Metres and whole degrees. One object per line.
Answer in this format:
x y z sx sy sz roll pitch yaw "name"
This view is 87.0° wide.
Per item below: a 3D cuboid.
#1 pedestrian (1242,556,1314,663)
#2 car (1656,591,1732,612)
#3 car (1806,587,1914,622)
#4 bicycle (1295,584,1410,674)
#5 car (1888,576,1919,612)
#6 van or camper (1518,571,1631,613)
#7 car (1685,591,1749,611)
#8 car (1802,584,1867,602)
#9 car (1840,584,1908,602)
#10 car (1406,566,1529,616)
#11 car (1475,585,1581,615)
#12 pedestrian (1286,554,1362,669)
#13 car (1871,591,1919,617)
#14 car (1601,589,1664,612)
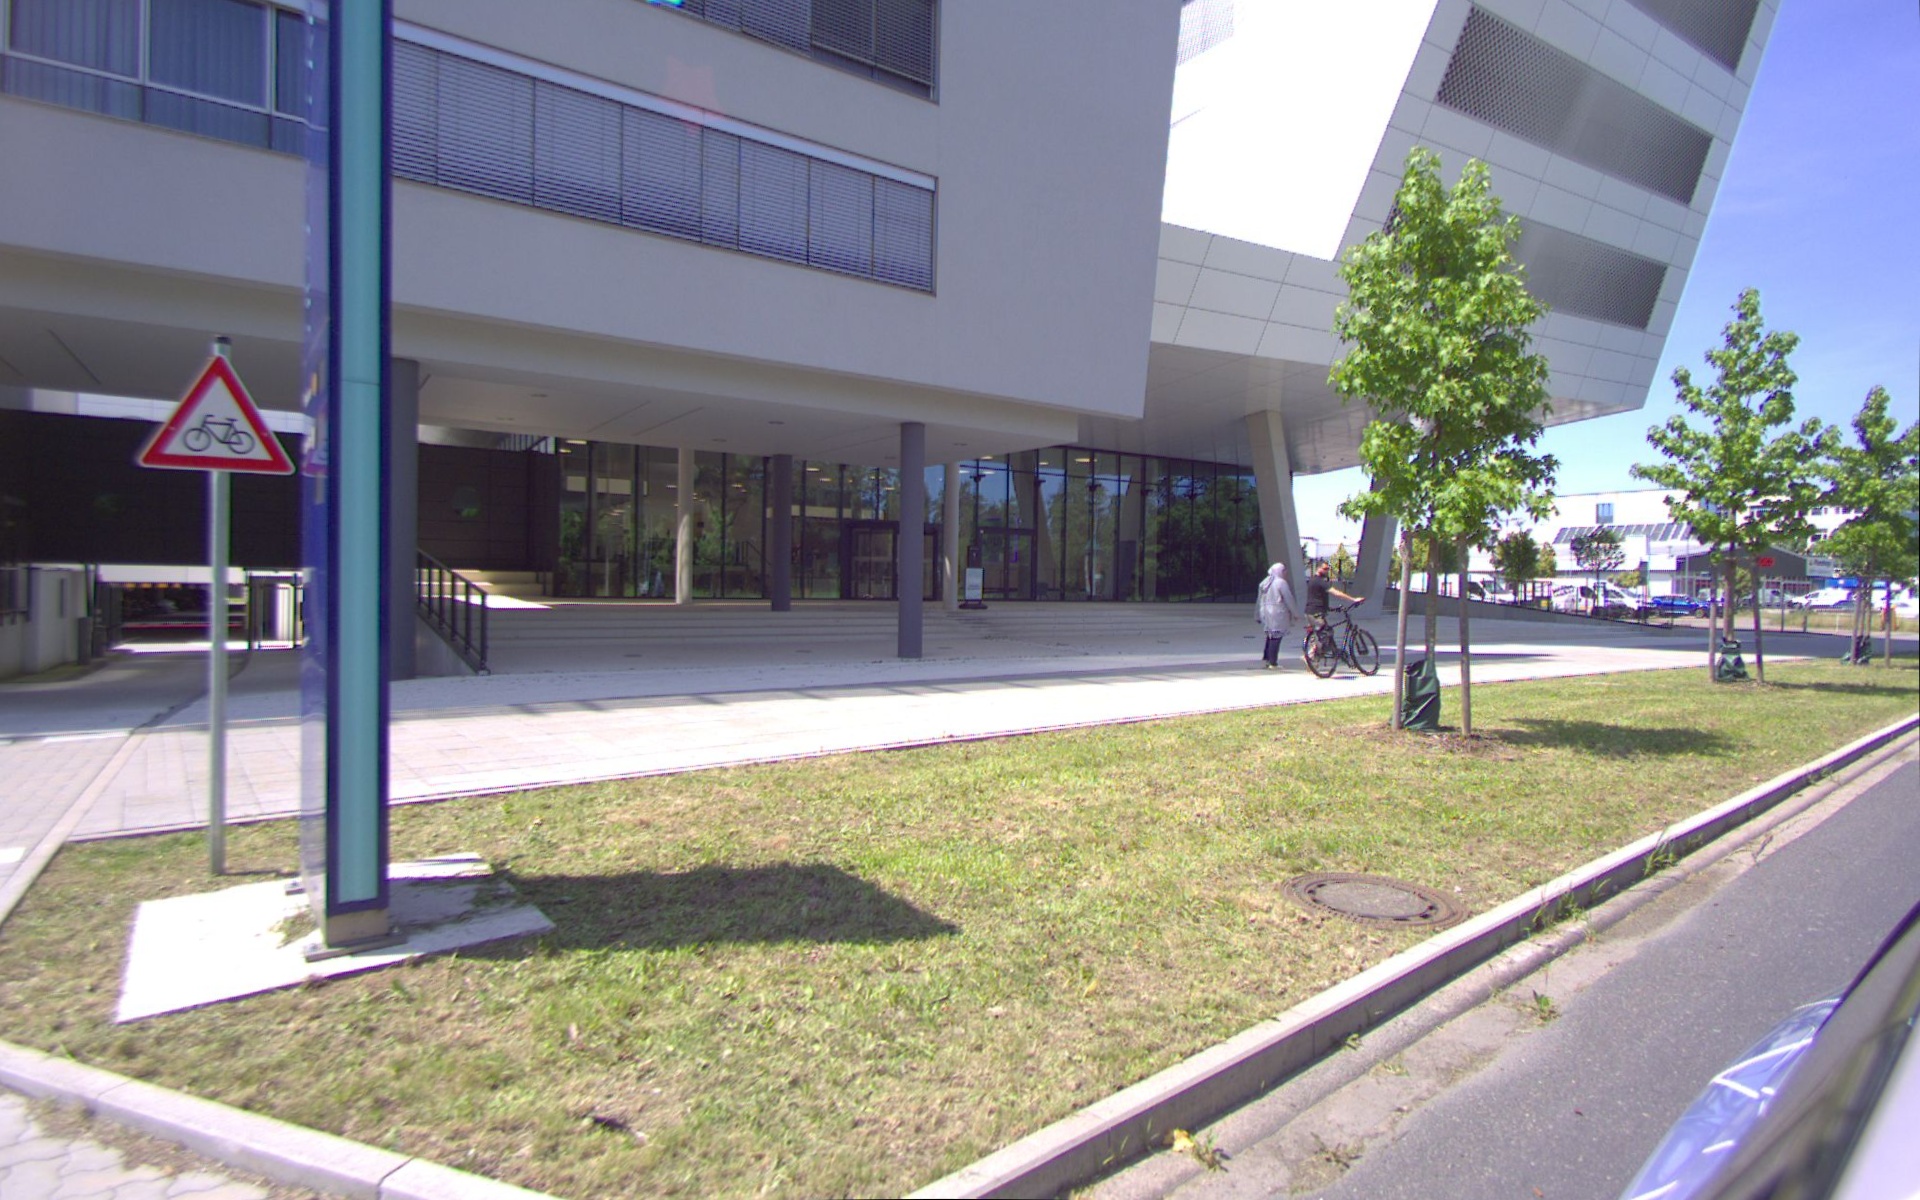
5.160 0.145 16.430 0.762 1.681 0.844 0 0 -41 "pedestrian"
48.984 0.089 67.594 1.430 1.388 3.822 0 0 -33 "car"
45.222 0.210 50.916 1.709 1.695 3.824 0 0 -36 "car"
5.962 0.401 15.306 2.265 1.270 0.644 -1 0 -41 "bicycle"
59.460 -0.363 59.778 2.123 2.177 6.503 0 0 -33 "car"
36.937 -0.469 61.013 1.670 2.420 5.709 0 0 -33 "van or camper"
51.453 0.066 68.846 1.381 1.367 3.232 0 0 -33 "car"
74.732 -0.584 86.520 1.670 1.561 3.923 0 0 -33 "car"
83.993 -0.626 93.020 1.670 1.678 4.328 0 0 -33 "car"
26.778 -0.472 53.583 1.961 2.491 5.590 0 0 -33 "car"
32.981 -0.029 58.925 1.670 1.661 5.234 0 0 -33 "car"
5.665 0.165 15.753 0.762 1.722 0.844 0 0 -41 "pedestrian"
53.324 0.222 56.054 1.622 1.411 3.999 0 0 -36 "car"
40.206 0.022 60.548 1.177 1.320 2.900 0 0 -33 "car"
